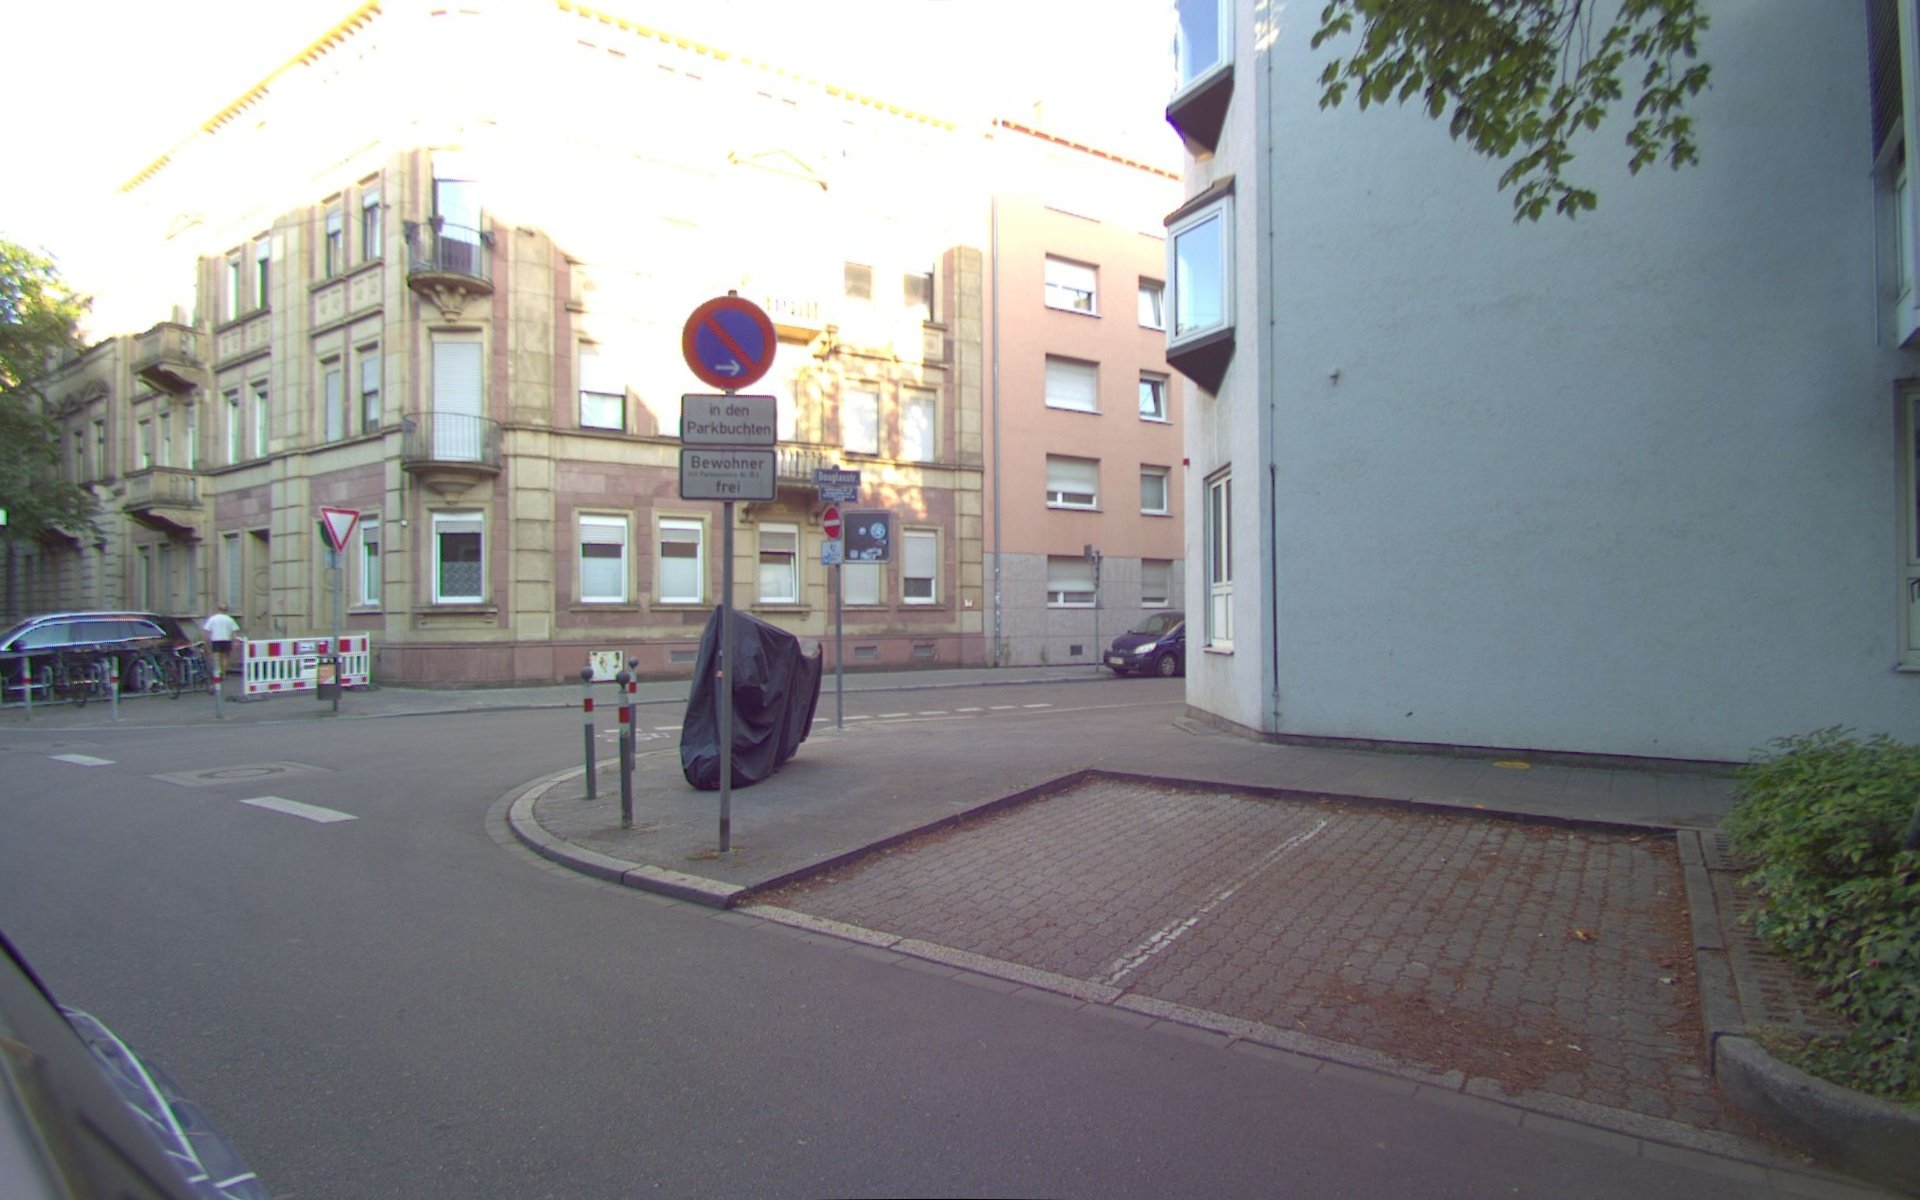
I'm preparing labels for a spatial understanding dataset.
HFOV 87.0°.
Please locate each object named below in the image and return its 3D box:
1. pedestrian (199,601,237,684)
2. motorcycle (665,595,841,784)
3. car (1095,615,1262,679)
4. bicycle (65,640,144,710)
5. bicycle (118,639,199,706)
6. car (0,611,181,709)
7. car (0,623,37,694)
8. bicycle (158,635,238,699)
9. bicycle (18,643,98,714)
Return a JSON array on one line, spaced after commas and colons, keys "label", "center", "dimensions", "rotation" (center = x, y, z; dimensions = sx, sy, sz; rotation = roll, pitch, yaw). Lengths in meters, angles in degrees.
[{"label": "pedestrian", "center": [-16.663, 0.938, 22.732], "dimensions": [0.651, 1.821, 0.565], "rotation": [-2, -2, 43]}, {"label": "motorcycle", "center": [-1.818, 0.740, 9.305], "dimensions": [0.809, 1.516, 2.276], "rotation": [-1, -1, 10]}, {"label": "car", "center": [5.641, 1.150, 25.957], "dimensions": [4.297, 1.529, 1.789], "rotation": [1, -2, -36]}, {"label": "bicycle", "center": [-15.366, 1.317, 18.154], "dimensions": [2.034, 1.159, 0.555], "rotation": [-1, -1, 34]}, {"label": "bicycle", "center": [-14.895, 1.319, 18.782], "dimensions": [2.033, 1.159, 0.556], "rotation": [-1, -1, 33]}, {"label": "car", "center": [-18.014, 1.125, 19.577], "dimensions": [1.739, 1.795, 4.369], "rotation": [-1, -2, 38]}, {"label": "car", "center": [-24.401, 1.382, 23.491], "dimensions": [1.740, 1.690, 4.190], "rotation": [-1, -2, 39]}, {"label": "bicycle", "center": [-14.540, 1.258, 19.285], "dimensions": [2.033, 1.159, 0.556], "rotation": [-1, -1, 33]}, {"label": "bicycle", "center": [-15.719, 1.341, 17.624], "dimensions": [2.034, 1.159, 0.555], "rotation": [-1, -1, 34]}]
